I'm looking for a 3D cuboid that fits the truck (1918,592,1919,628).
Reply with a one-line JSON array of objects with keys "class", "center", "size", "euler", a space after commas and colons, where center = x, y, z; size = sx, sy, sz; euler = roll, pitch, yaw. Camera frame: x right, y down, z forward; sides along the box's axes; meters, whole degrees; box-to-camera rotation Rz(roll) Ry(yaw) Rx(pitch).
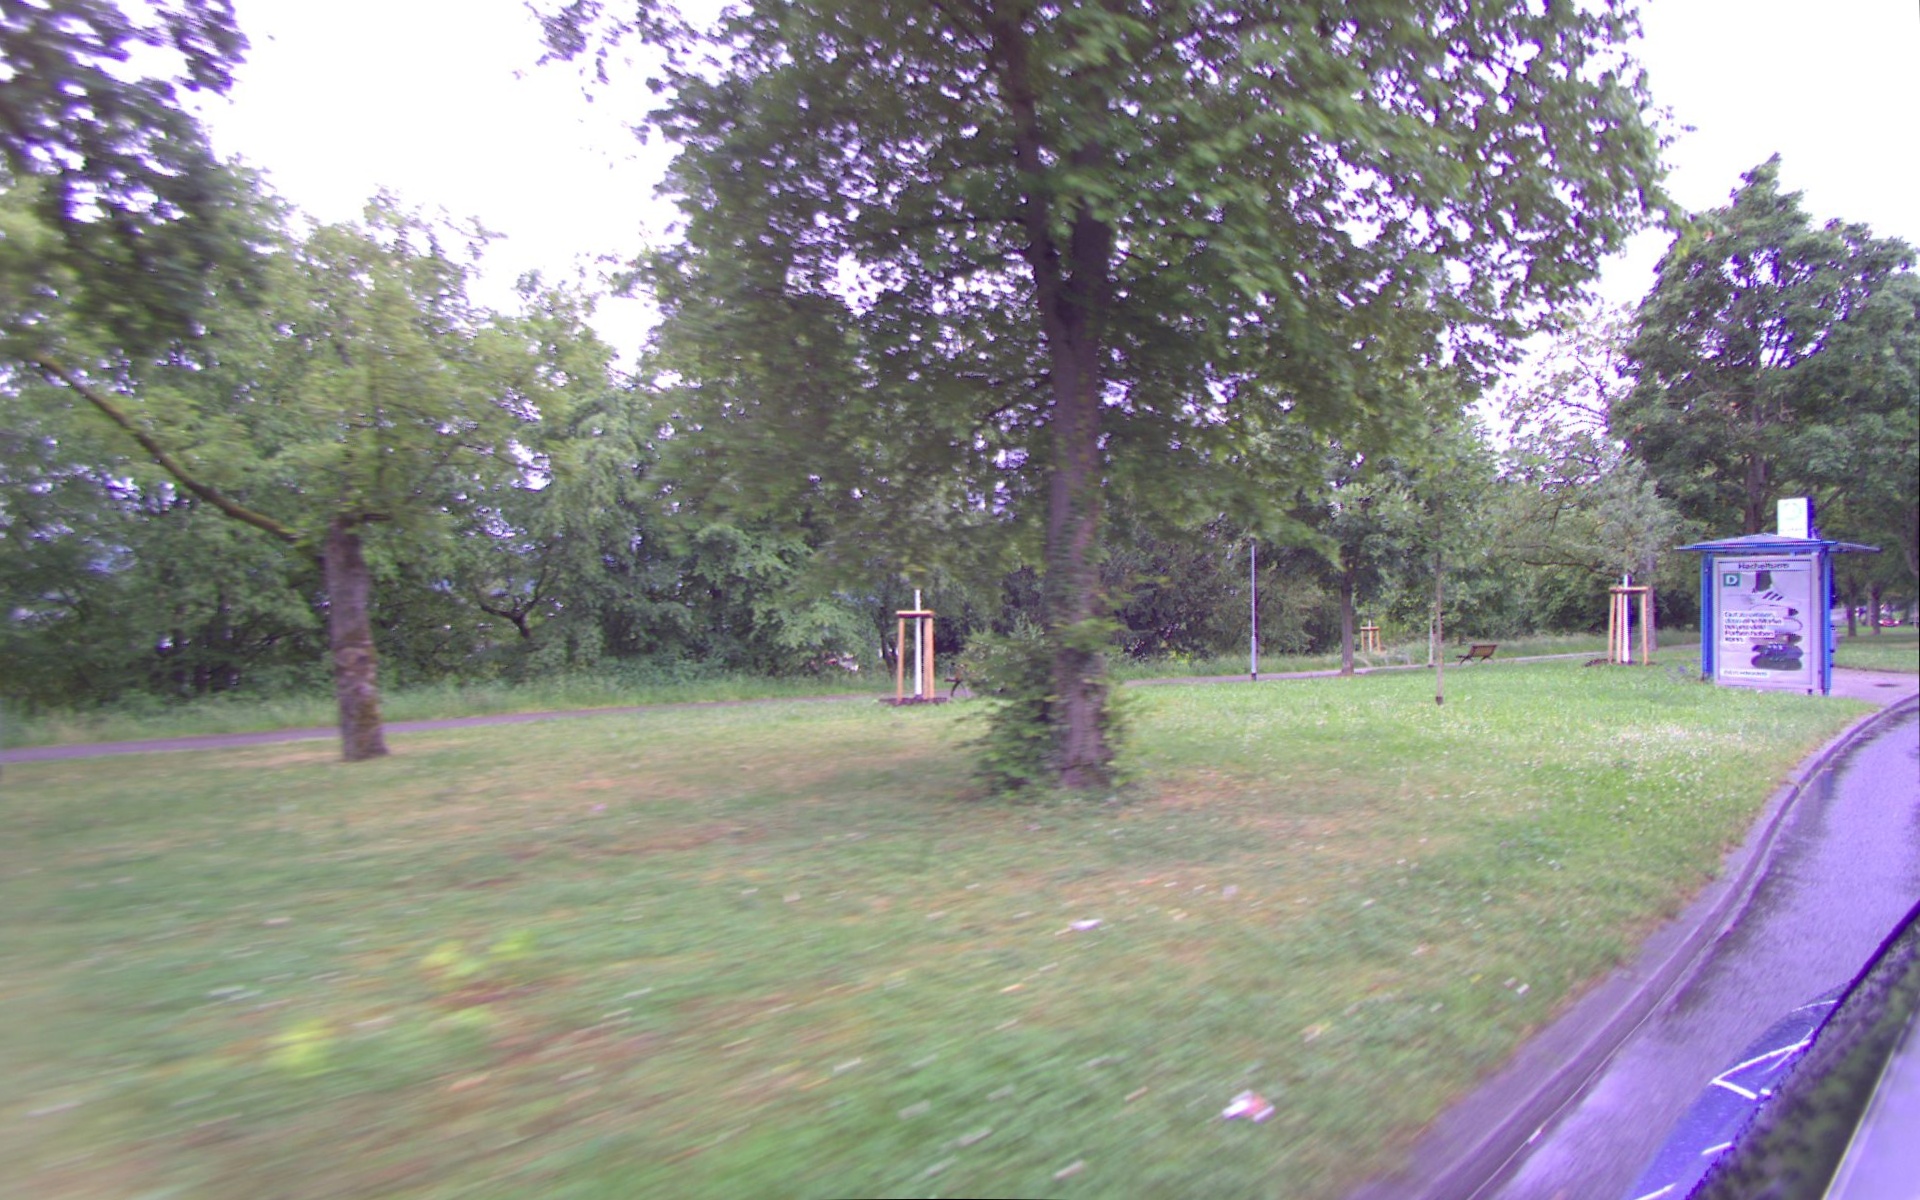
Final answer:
[{"class": "truck", "center": [81.909, 0.842, 83.911], "size": [2.126, 3.085, 5.120], "euler": [-1, -1, 26]}]
